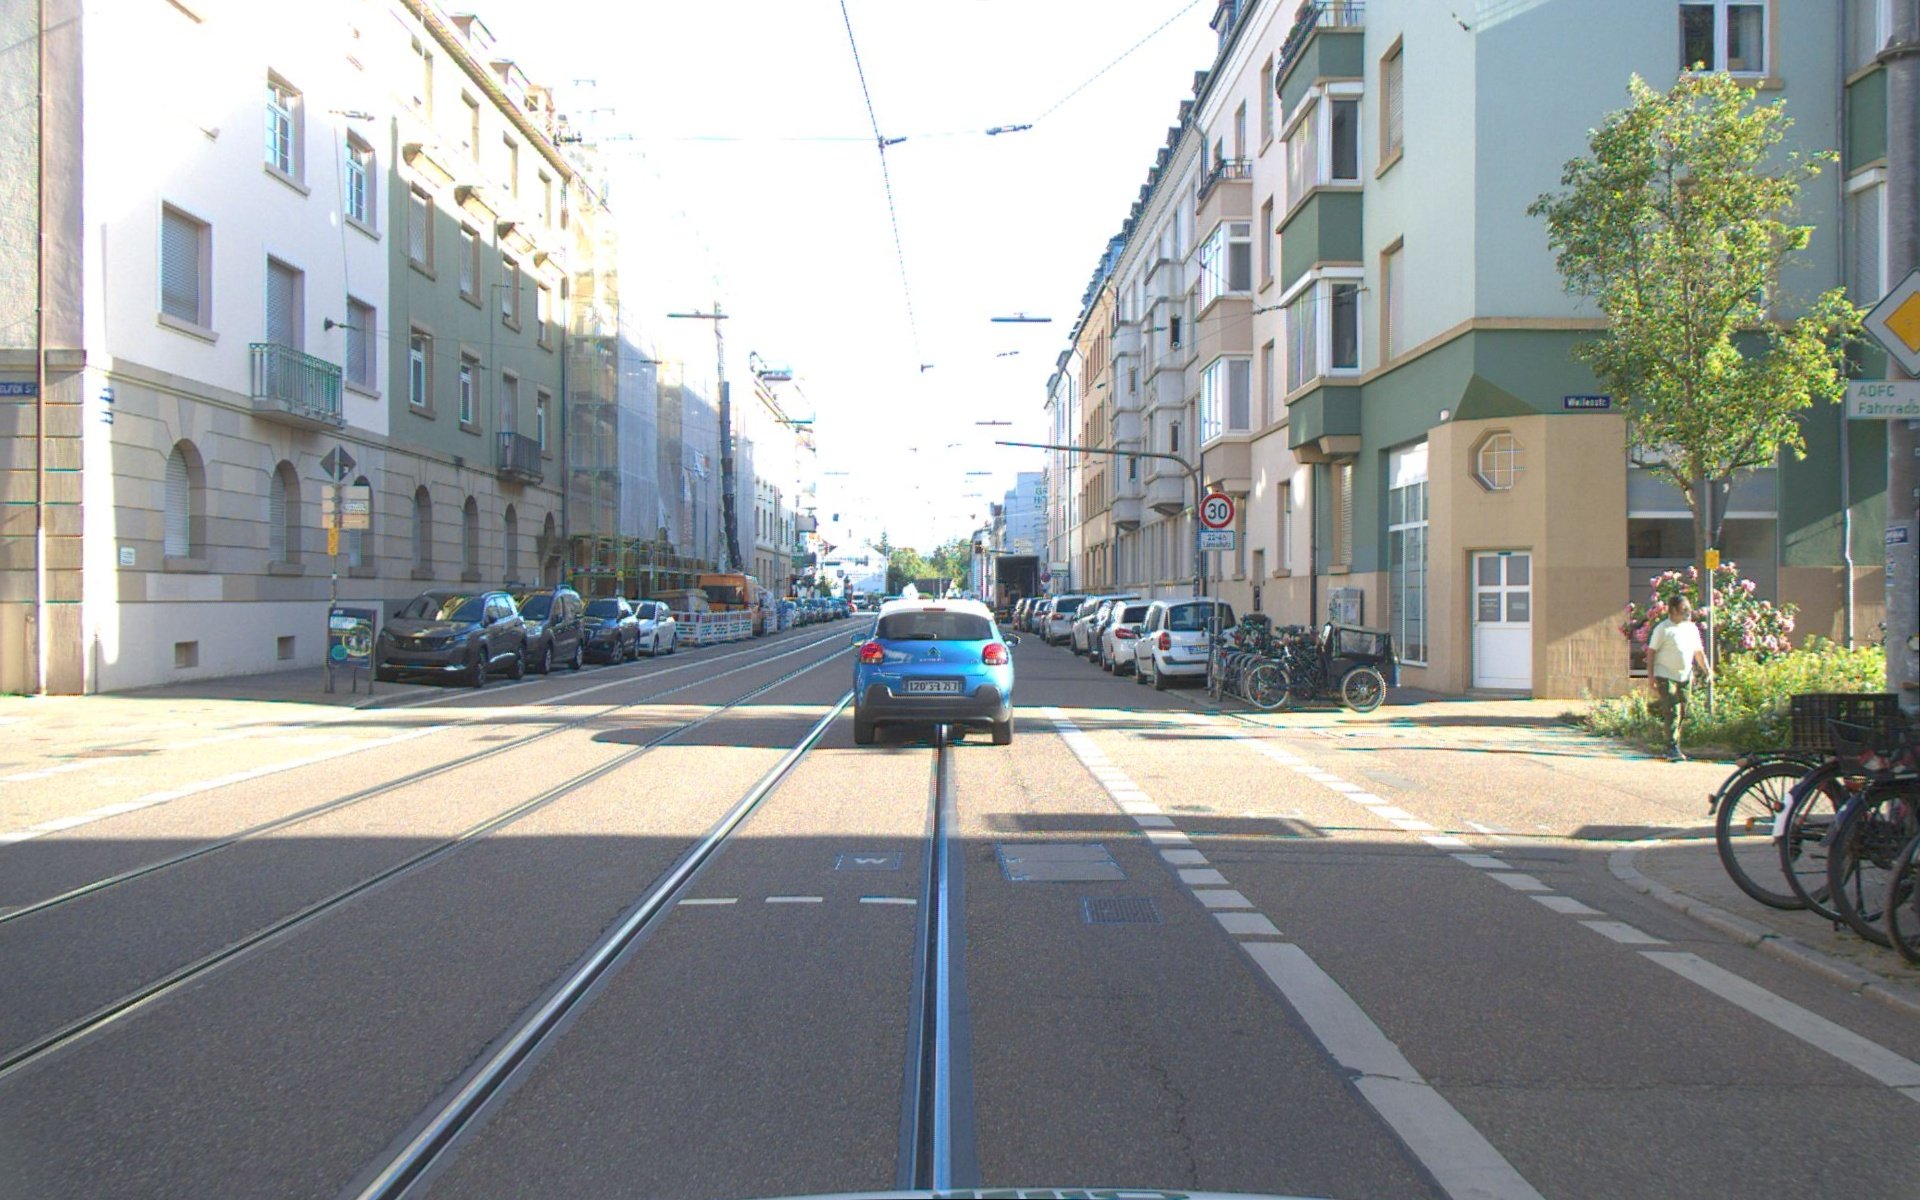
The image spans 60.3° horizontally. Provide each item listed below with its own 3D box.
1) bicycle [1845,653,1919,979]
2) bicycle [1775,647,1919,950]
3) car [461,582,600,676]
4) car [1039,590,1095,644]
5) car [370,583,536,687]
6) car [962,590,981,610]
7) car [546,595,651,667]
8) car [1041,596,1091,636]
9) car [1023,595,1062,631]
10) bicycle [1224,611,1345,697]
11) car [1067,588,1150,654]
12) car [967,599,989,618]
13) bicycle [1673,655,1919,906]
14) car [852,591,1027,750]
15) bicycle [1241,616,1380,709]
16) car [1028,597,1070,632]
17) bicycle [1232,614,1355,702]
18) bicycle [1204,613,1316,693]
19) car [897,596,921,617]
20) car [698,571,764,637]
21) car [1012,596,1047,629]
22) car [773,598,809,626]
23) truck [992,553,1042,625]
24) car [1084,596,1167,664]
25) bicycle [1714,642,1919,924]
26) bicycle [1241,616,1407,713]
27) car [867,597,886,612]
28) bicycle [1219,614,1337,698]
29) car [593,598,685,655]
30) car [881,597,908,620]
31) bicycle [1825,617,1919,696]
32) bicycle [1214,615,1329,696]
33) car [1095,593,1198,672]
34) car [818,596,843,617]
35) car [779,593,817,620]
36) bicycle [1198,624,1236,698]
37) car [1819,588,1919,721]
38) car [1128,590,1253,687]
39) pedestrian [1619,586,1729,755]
[{"bbox_3d":[4.696,0.832,6.703,1.919,1.248,0.527,-1,0,0],"label":"bicycle"},{"bbox_3d":[4.685,0.832,7.275,1.919,1.248,0.527,-1,0,0],"label":"bicycle"},{"bbox_3d":[-9.231,0.586,35.936,1.746,1.848,4.528,2,0,0],"label":"car"},{"bbox_3d":[3.805,0.579,59.382,1.695,1.859,4.686,0,0,0],"label":"car"},{"bbox_3d":[-9.211,0.590,30.442,1.747,1.720,4.665,2,0,-2],"label":"car"},{"bbox_3d":[1.375,0.014,193.823,2.174,2.324,4.083,0,0,0],"label":"car"},{"bbox_3d":[-9.043,0.733,41.713,1.747,1.655,4.607,2,0,-2],"label":"car"},{"bbox_3d":[4.144,0.607,65.192,1.687,1.513,4.221,0,0,0],"label":"car"},{"bbox_3d":[3.948,0.611,79.695,1.630,1.676,4.221,0,0,0],"label":"car"},{"bbox_3d":[4.929,0.814,25.146,1.687,1.174,0.469,-4,0,0],"label":"bicycle"},{"bbox_3d":[4.194,0.567,47.285,1.622,1.782,4.598,0,0,-5],"label":"car"},{"bbox_3d":[1.423,0.714,134.694,1.729,1.513,4.031,0,0,0],"label":"car"},{"bbox_3d":[4.695,0.891,8.415,1.884,1.181,0.527,-1,0,0],"label":"bicycle"},{"bbox_3d":[-0.213,0.693,18.467,1.699,1.533,3.992,2,0,0],"label":"car"},{"bbox_3d":[4.945,0.872,23.361,1.805,1.174,0.469,-4,0,0],"label":"bicycle"},{"bbox_3d":[4.001,0.639,74.851,1.630,1.546,4.221,0,0,0],"label":"car"},{"bbox_3d":[4.952,0.858,24.599,1.687,1.174,0.469,-4,0,0],"label":"bicycle"},{"bbox_3d":[4.910,0.862,27.074,1.687,1.174,0.469,-4,0,0],"label":"bicycle"},{"bbox_3d":[-4.313,0.541,139.461,1.862,1.660,4.266,0,0,0],"label":"car"},{"bbox_3d":[-9.016,0.129,65.456,2.101,2.519,4.978,0,0,-2],"label":"car"},{"bbox_3d":[3.603,0.645,85.711,1.630,1.661,3.871,0,0,0],"label":"car"},{"bbox_3d":[-9.997,0.697,97.996,1.679,1.622,4.266,0,0,0],"label":"car"},{"bbox_3d":[3.395,-0.665,101.413,2.794,4.154,11.271,0,0,1],"label":"truck"},{"bbox_3d":[4.103,0.711,41.568,1.621,1.594,4.338,0,0,0],"label":"car"},{"bbox_3d":[4.663,0.833,7.835,1.919,1.248,0.527,-1,0,0],"label":"bicycle"},{"bbox_3d":[4.972,0.871,22.666,2.044,1.174,0.848,-3,0,0],"label":"bicycle"},{"bbox_3d":[-9.470,0.483,188.017,1.862,1.660,4.266,0,0,0],"label":"car"},{"bbox_3d":[4.953,0.867,25.827,1.687,1.174,0.469,-4,0,0],"label":"bicycle"},{"bbox_3d":[-9.194,0.724,47.724,1.683,1.529,4.388,2,0,1],"label":"car"},{"bbox_3d":[-4.794,0.623,121.698,1.788,1.660,4.490,0,0,0],"label":"car"},{"bbox_3d":[13.199,0.788,23.258,1.857,1.082,0.455,0,0,-3],"label":"bicycle"},{"bbox_3d":[4.980,0.885,26.448,1.687,1.174,0.469,-4,0,0],"label":"bicycle"},{"bbox_3d":[4.015,0.669,36.206,1.747,1.603,4.326,0,0,0],"label":"car"},{"bbox_3d":[-10.309,0.527,131.820,1.789,1.660,3.904,0,0,-1],"label":"car"},{"bbox_3d":[-10.367,0.418,105.972,2.101,1.650,3.999,-1,0,-1],"label":"car"},{"bbox_3d":[3.967,0.927,25.616,0.345,1.063,1.728,0,0,1],"label":"bicycle"},{"bbox_3d":[12.623,0.654,19.754,1.617,1.607,4.040,0,0,-28],"label":"car"},{"bbox_3d":[4.187,0.668,30.563,1.747,1.660,4.000,0,0,0],"label":"car"},{"bbox_3d":[7.243,0.709,16.798,0.718,1.662,0.700,2,-1,-18],"label":"pedestrian"}]
